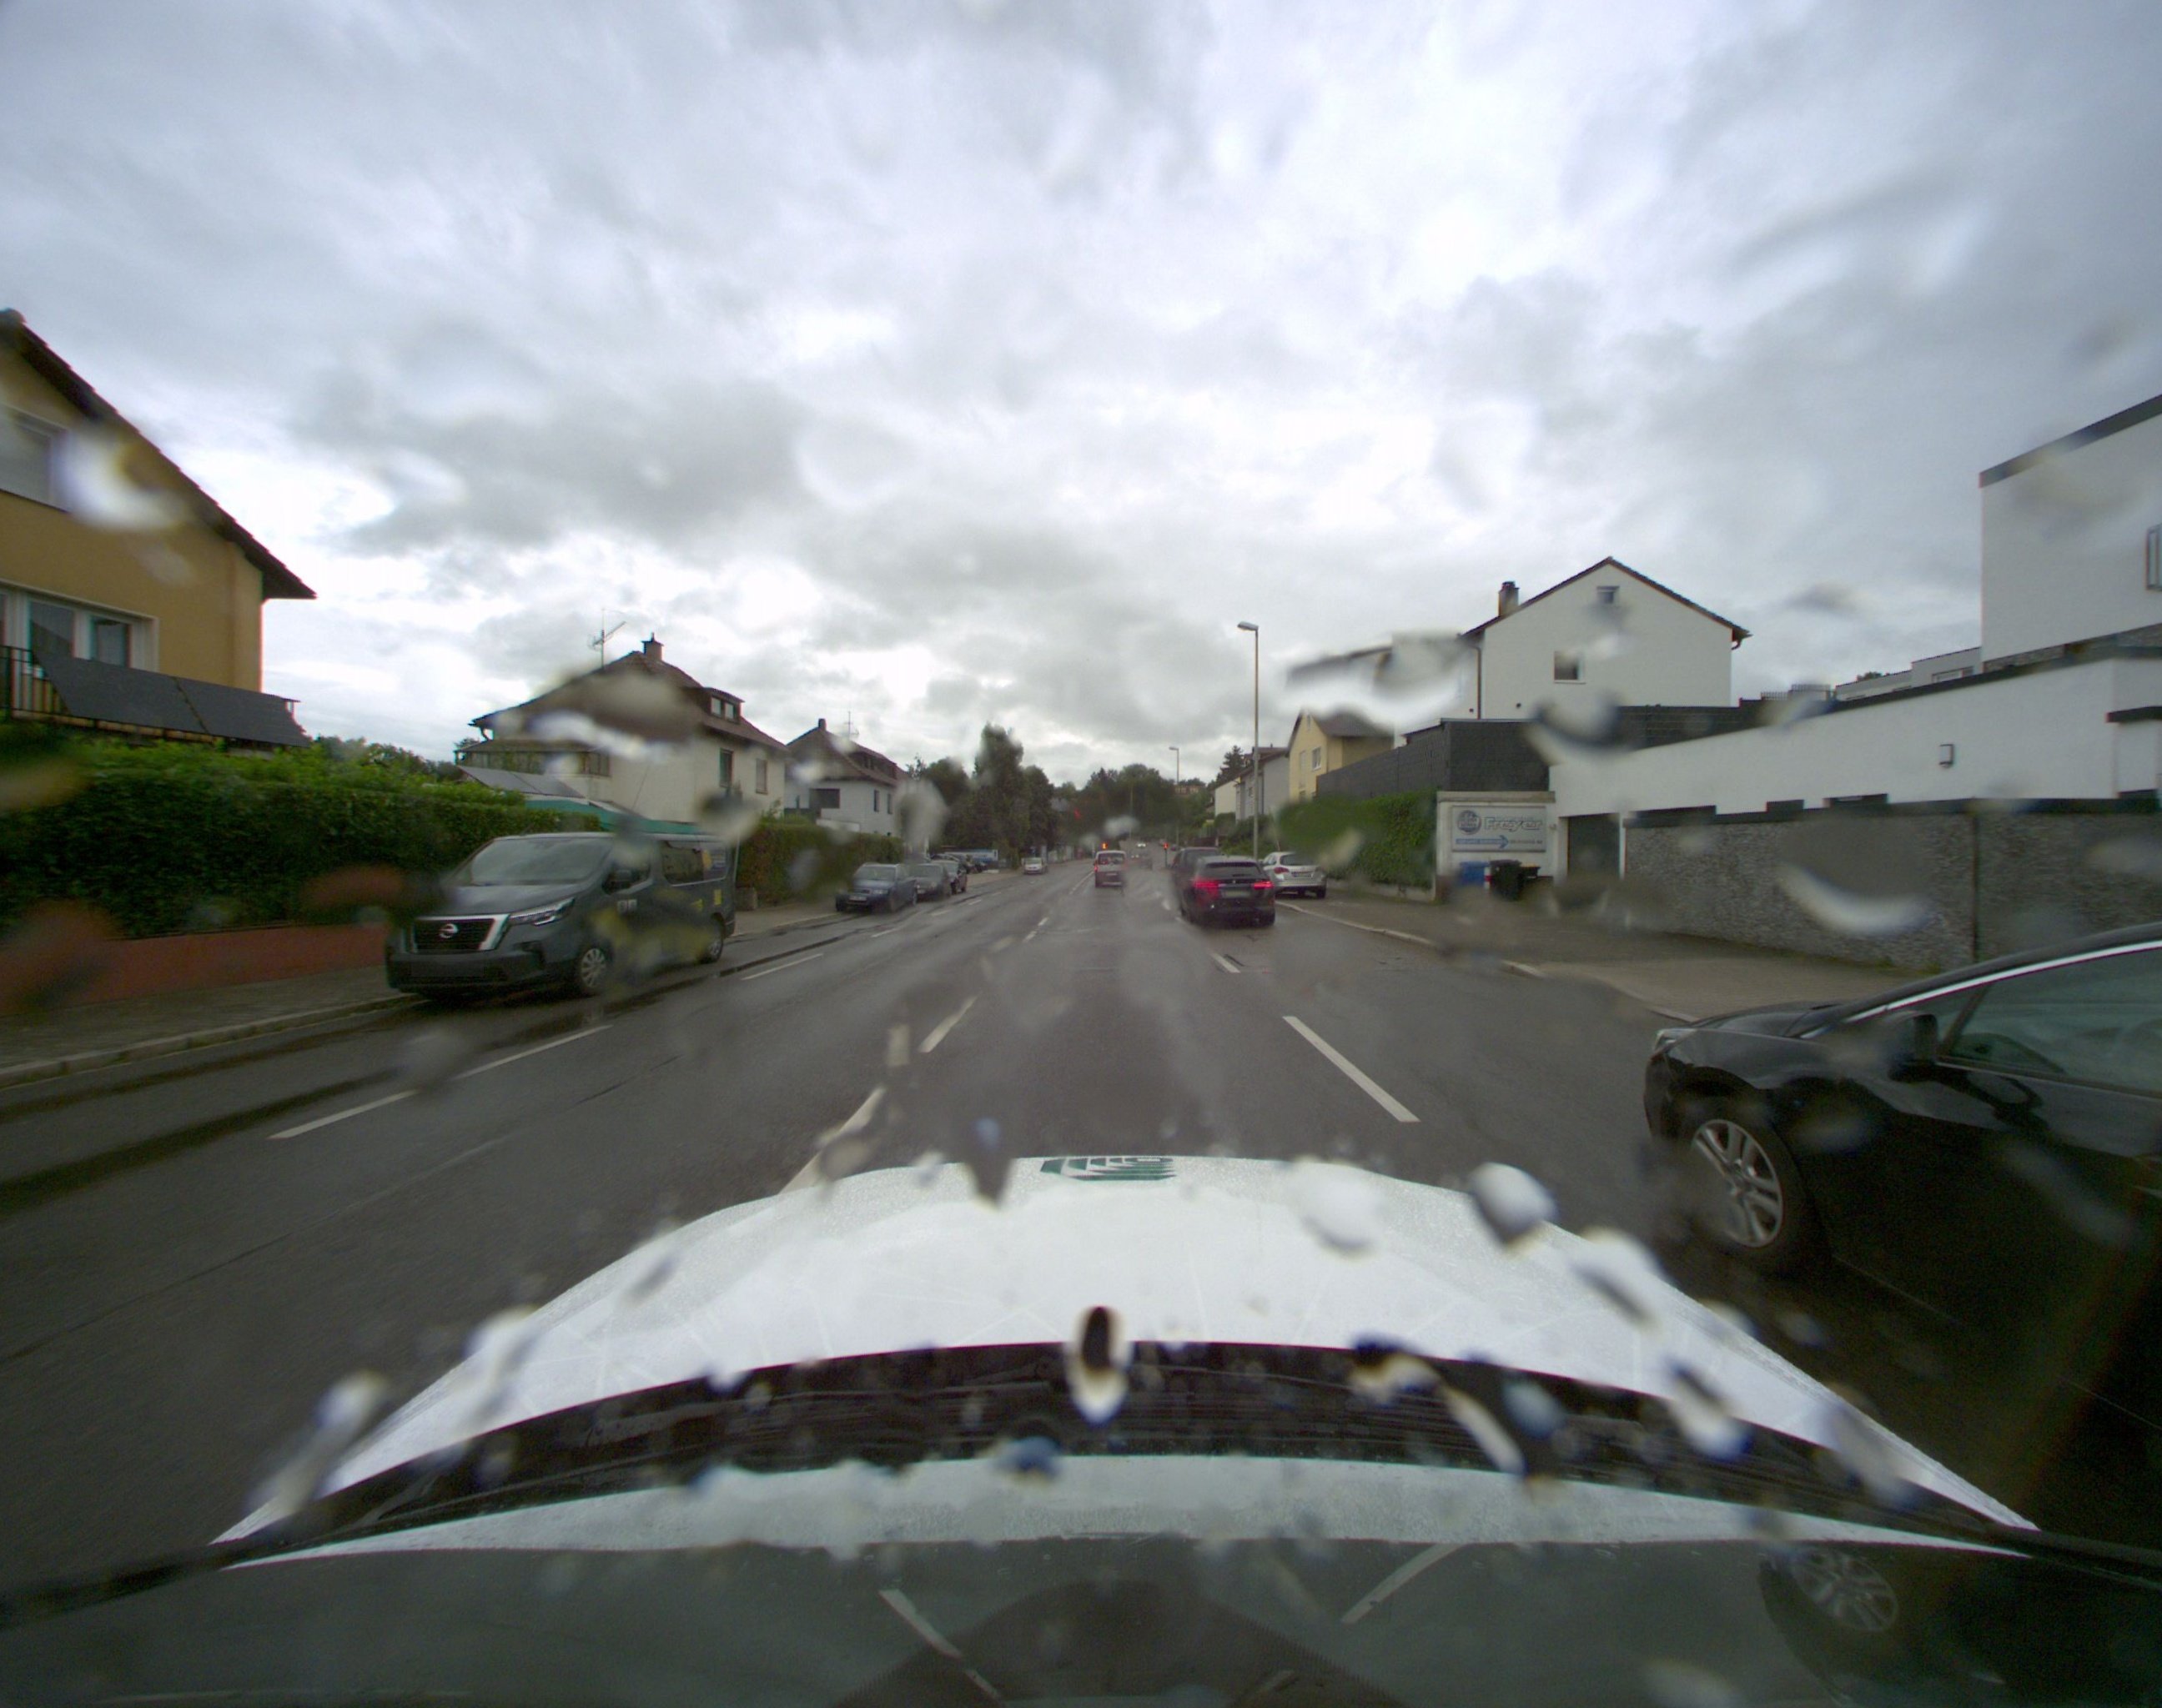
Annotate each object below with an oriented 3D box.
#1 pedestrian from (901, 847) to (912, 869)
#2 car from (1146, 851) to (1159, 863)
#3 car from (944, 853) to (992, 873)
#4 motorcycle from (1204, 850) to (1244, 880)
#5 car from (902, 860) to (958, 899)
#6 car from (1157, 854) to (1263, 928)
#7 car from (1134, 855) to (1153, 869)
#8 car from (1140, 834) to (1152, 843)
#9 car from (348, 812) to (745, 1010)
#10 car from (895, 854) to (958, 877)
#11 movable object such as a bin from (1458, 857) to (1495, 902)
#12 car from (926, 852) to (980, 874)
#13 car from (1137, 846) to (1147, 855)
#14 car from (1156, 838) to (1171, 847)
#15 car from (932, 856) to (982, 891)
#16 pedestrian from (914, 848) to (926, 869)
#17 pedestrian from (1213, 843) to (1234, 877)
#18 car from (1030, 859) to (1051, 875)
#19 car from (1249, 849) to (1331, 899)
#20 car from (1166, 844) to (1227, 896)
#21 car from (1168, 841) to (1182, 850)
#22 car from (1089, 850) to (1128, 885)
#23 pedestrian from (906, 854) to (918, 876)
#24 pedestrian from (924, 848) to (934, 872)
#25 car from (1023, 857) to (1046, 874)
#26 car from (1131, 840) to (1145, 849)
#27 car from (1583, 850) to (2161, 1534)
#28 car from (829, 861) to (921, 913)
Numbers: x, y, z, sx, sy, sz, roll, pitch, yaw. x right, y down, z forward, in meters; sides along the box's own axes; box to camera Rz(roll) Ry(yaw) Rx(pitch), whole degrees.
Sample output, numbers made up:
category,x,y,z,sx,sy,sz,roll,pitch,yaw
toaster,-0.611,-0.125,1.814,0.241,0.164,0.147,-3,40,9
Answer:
category,x,y,z,sx,sy,sz,roll,pitch,yaw
pedestrian,-13.727,0.305,64.187,0.597,1.665,0.651,3,0,7
car,14.325,0.589,163.318,2.512,2.013,5.613,0,3,2
car,-10.371,0.833,74.923,4.058,1.516,1.856,4,0,1
motorcycle,7.092,0.553,40.471,0.762,1.450,2.067,0,-1,-34
car,-5.880,0.971,32.104,1.546,1.431,4.013,0,0,-1
car,2.786,0.755,18.427,1.985,1.484,4.004,0,0,3
car,7.404,0.941,96.579,1.986,1.578,4.001,-2,0,1
car,18.032,-4.368,227.228,2.518,2.012,5.600,1,4,-5
car,-6.472,0.593,10.813,1.907,2.003,5.086,0,0,0
car,-10.880,0.789,57.614,4.057,1.516,1.856,1,-1,1
movable object such as a bin,10.156,0.653,20.915,0.593,1.105,0.667,-3,0,1
car,-10.622,0.765,67.670,4.058,1.516,1.856,4,0,1
car,13.125,-0.712,174.572,1.986,1.772,4.002,-2,0,2
car,21.329,-3.105,210.917,2.521,2.012,5.592,0,4,-9
car,-5.706,0.872,37.876,1.752,1.533,4.206,0,0,-1
pedestrian,-12.647,0.360,63.918,0.597,1.665,0.651,3,0,10
pedestrian,7.095,0.292,40.482,0.625,1.650,0.823,0,-1,-35
car,-4.235,1.326,85.420,1.877,1.585,4.002,0,0,2
car,6.855,0.635,27.149,1.694,1.510,4.536,0,0,2
car,4.144,0.571,29.852,1.831,1.767,4.002,0,0,2
car,22.217,-1.960,192.483,2.516,2.013,5.602,0,3,-4
car,1.504,0.700,43.470,1.986,1.737,4.002,0,0,2
pedestrian,-12.743,0.837,61.442,0.597,1.665,0.651,3,0,7
pedestrian,-11.873,0.467,63.435,0.599,1.791,0.649,3,0,-4
car,-4.466,1.080,78.758,1.877,1.585,4.002,0,0,2
car,14.332,-2.371,205.059,2.519,2.013,5.596,0,3,-7
car,3.165,0.714,1.817,1.749,1.449,4.002,0,0,2
car,-6.459,0.985,26.050,1.751,1.533,4.288,0,0,2
